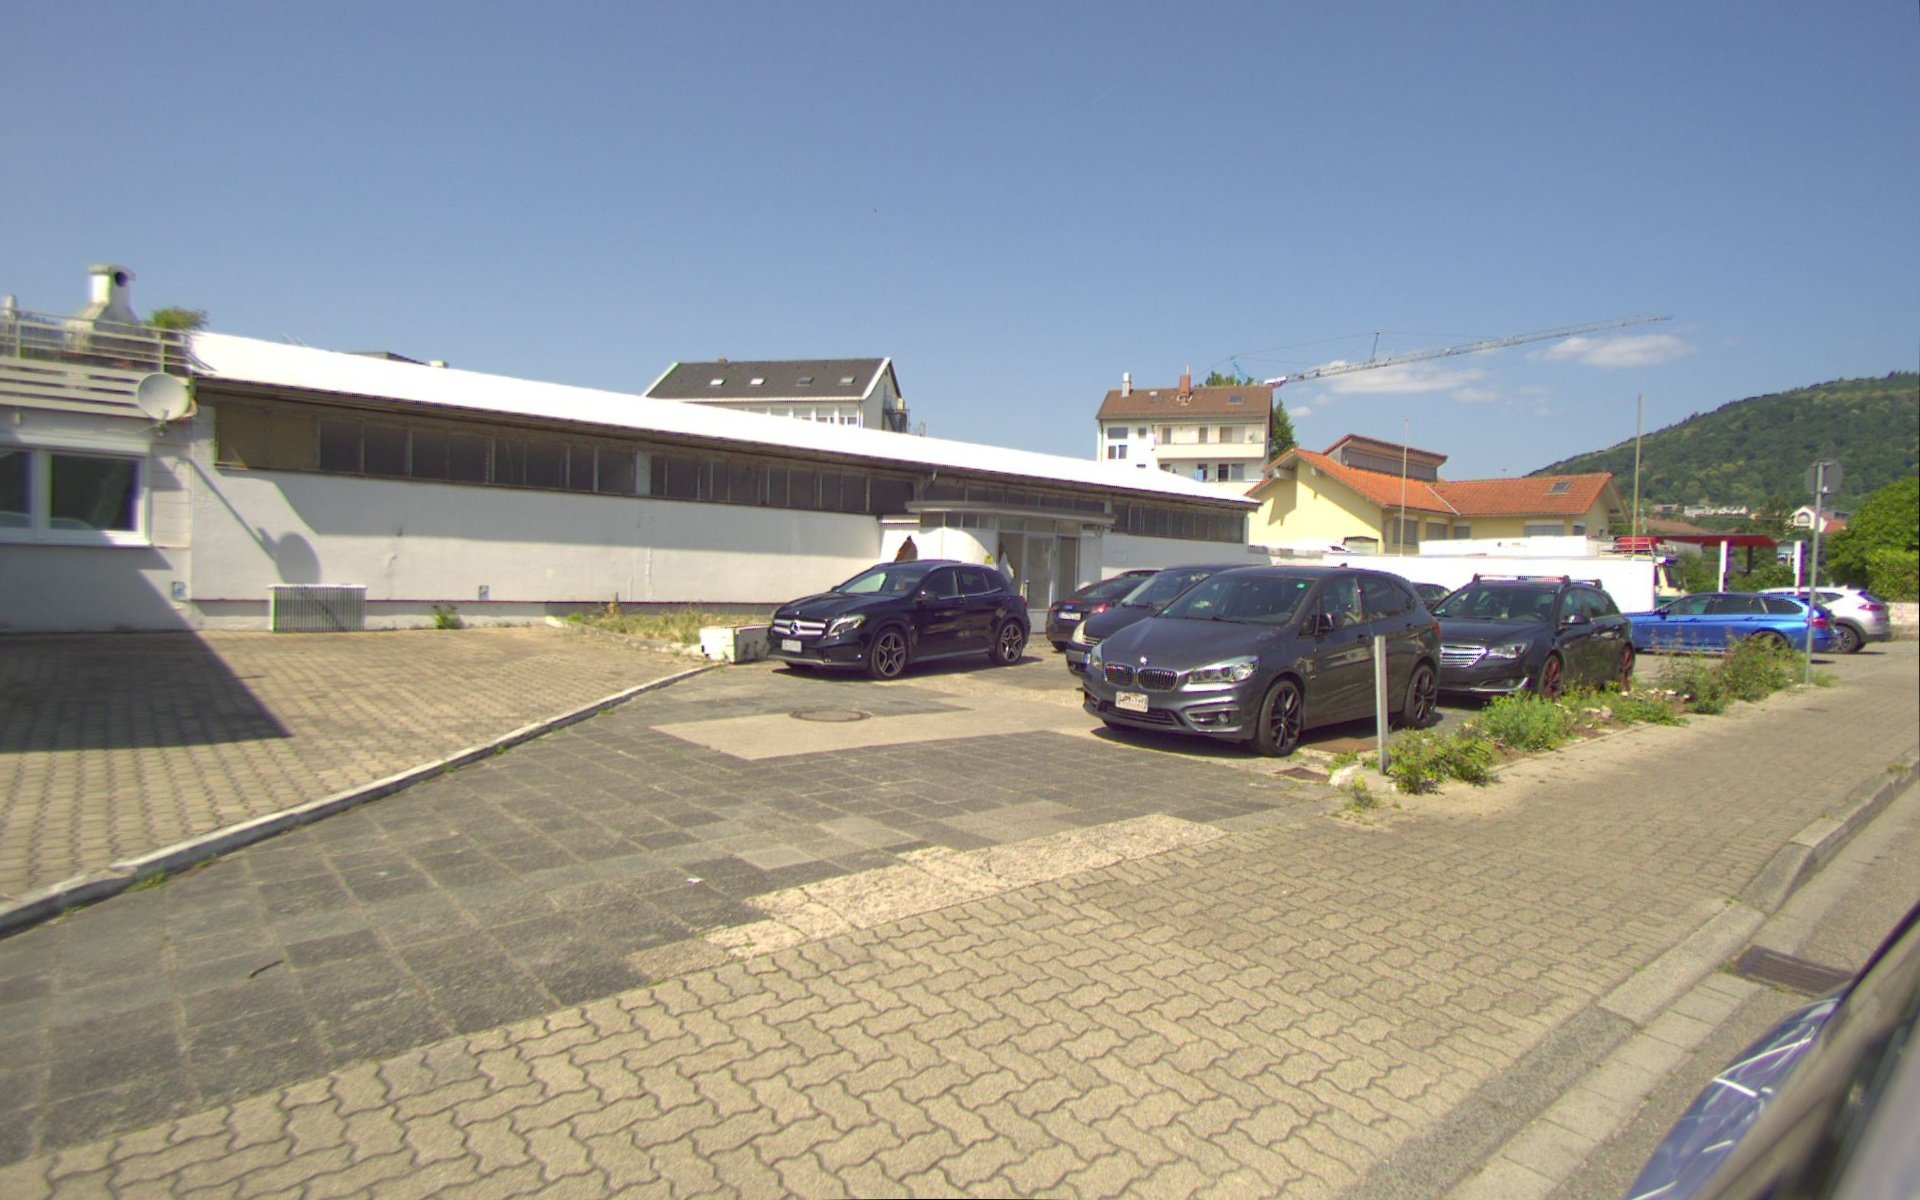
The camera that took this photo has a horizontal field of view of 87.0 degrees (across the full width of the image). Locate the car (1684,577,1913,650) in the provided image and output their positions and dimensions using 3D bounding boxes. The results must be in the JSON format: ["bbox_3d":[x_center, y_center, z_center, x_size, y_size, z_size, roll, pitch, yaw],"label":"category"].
[{"bbox_3d":[21.229,0.384,25.763,1.736,1.704,4.207,-1,-1,-40],"label":"car"}]

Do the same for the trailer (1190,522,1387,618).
[{"bbox_3d":[14.645,-1.409,45.864,3.009,3.910,8.364,-1,2,-34],"label":"trailer"}]

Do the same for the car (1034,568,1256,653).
[{"bbox_3d":[3.375,0.138,18.130,4.025,1.341,1.646,0,2,-38],"label":"car"}]

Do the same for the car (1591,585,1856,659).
[{"bbox_3d":[16.614,0.412,22.203,1.859,1.460,4.360,0,0,-40],"label":"car"}]

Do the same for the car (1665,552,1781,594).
[{"bbox_3d":[52.450,-1.918,69.738,5.962,2.711,2.239,2,3,28],"label":"car"}]

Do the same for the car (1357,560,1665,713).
[{"bbox_3d":[7.171,0.348,12.920,4.865,1.587,1.862,0,2,-41],"label":"car"}]

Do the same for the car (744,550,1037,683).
[{"bbox_3d":[-0.816,0.137,14.065,1.757,1.514,4.092,4,4,38],"label":"car"}]

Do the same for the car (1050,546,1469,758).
[{"bbox_3d":[2.982,0.342,9.588,4.218,1.577,1.815,0,2,-41],"label":"car"}]

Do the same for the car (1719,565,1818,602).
[{"bbox_3d":[52.318,-1.117,65.624,1.885,2.176,4.588,1,3,-22],"label":"car"}]

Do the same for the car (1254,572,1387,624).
[{"bbox_3d":[10.972,-0.090,30.703,3.952,1.409,1.892,0,4,-37],"label":"car"}]

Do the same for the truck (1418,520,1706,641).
[{"bbox_3d":[19.095,-0.502,32.616,2.482,3.467,7.532,0,-1,-39],"label":"truck"}]

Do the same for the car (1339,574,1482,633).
[{"bbox_3d":[12.652,0.065,28.366,4.110,1.459,1.892,0,4,-37],"label":"car"}]

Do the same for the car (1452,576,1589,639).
[{"bbox_3d":[14.653,0.133,26.378,4.381,1.459,1.888,-1,3,-44],"label":"car"}]

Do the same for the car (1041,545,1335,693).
[{"bbox_3d":[2.946,0.228,12.844,3.552,1.615,1.764,0,-1,-37],"label":"car"}]
